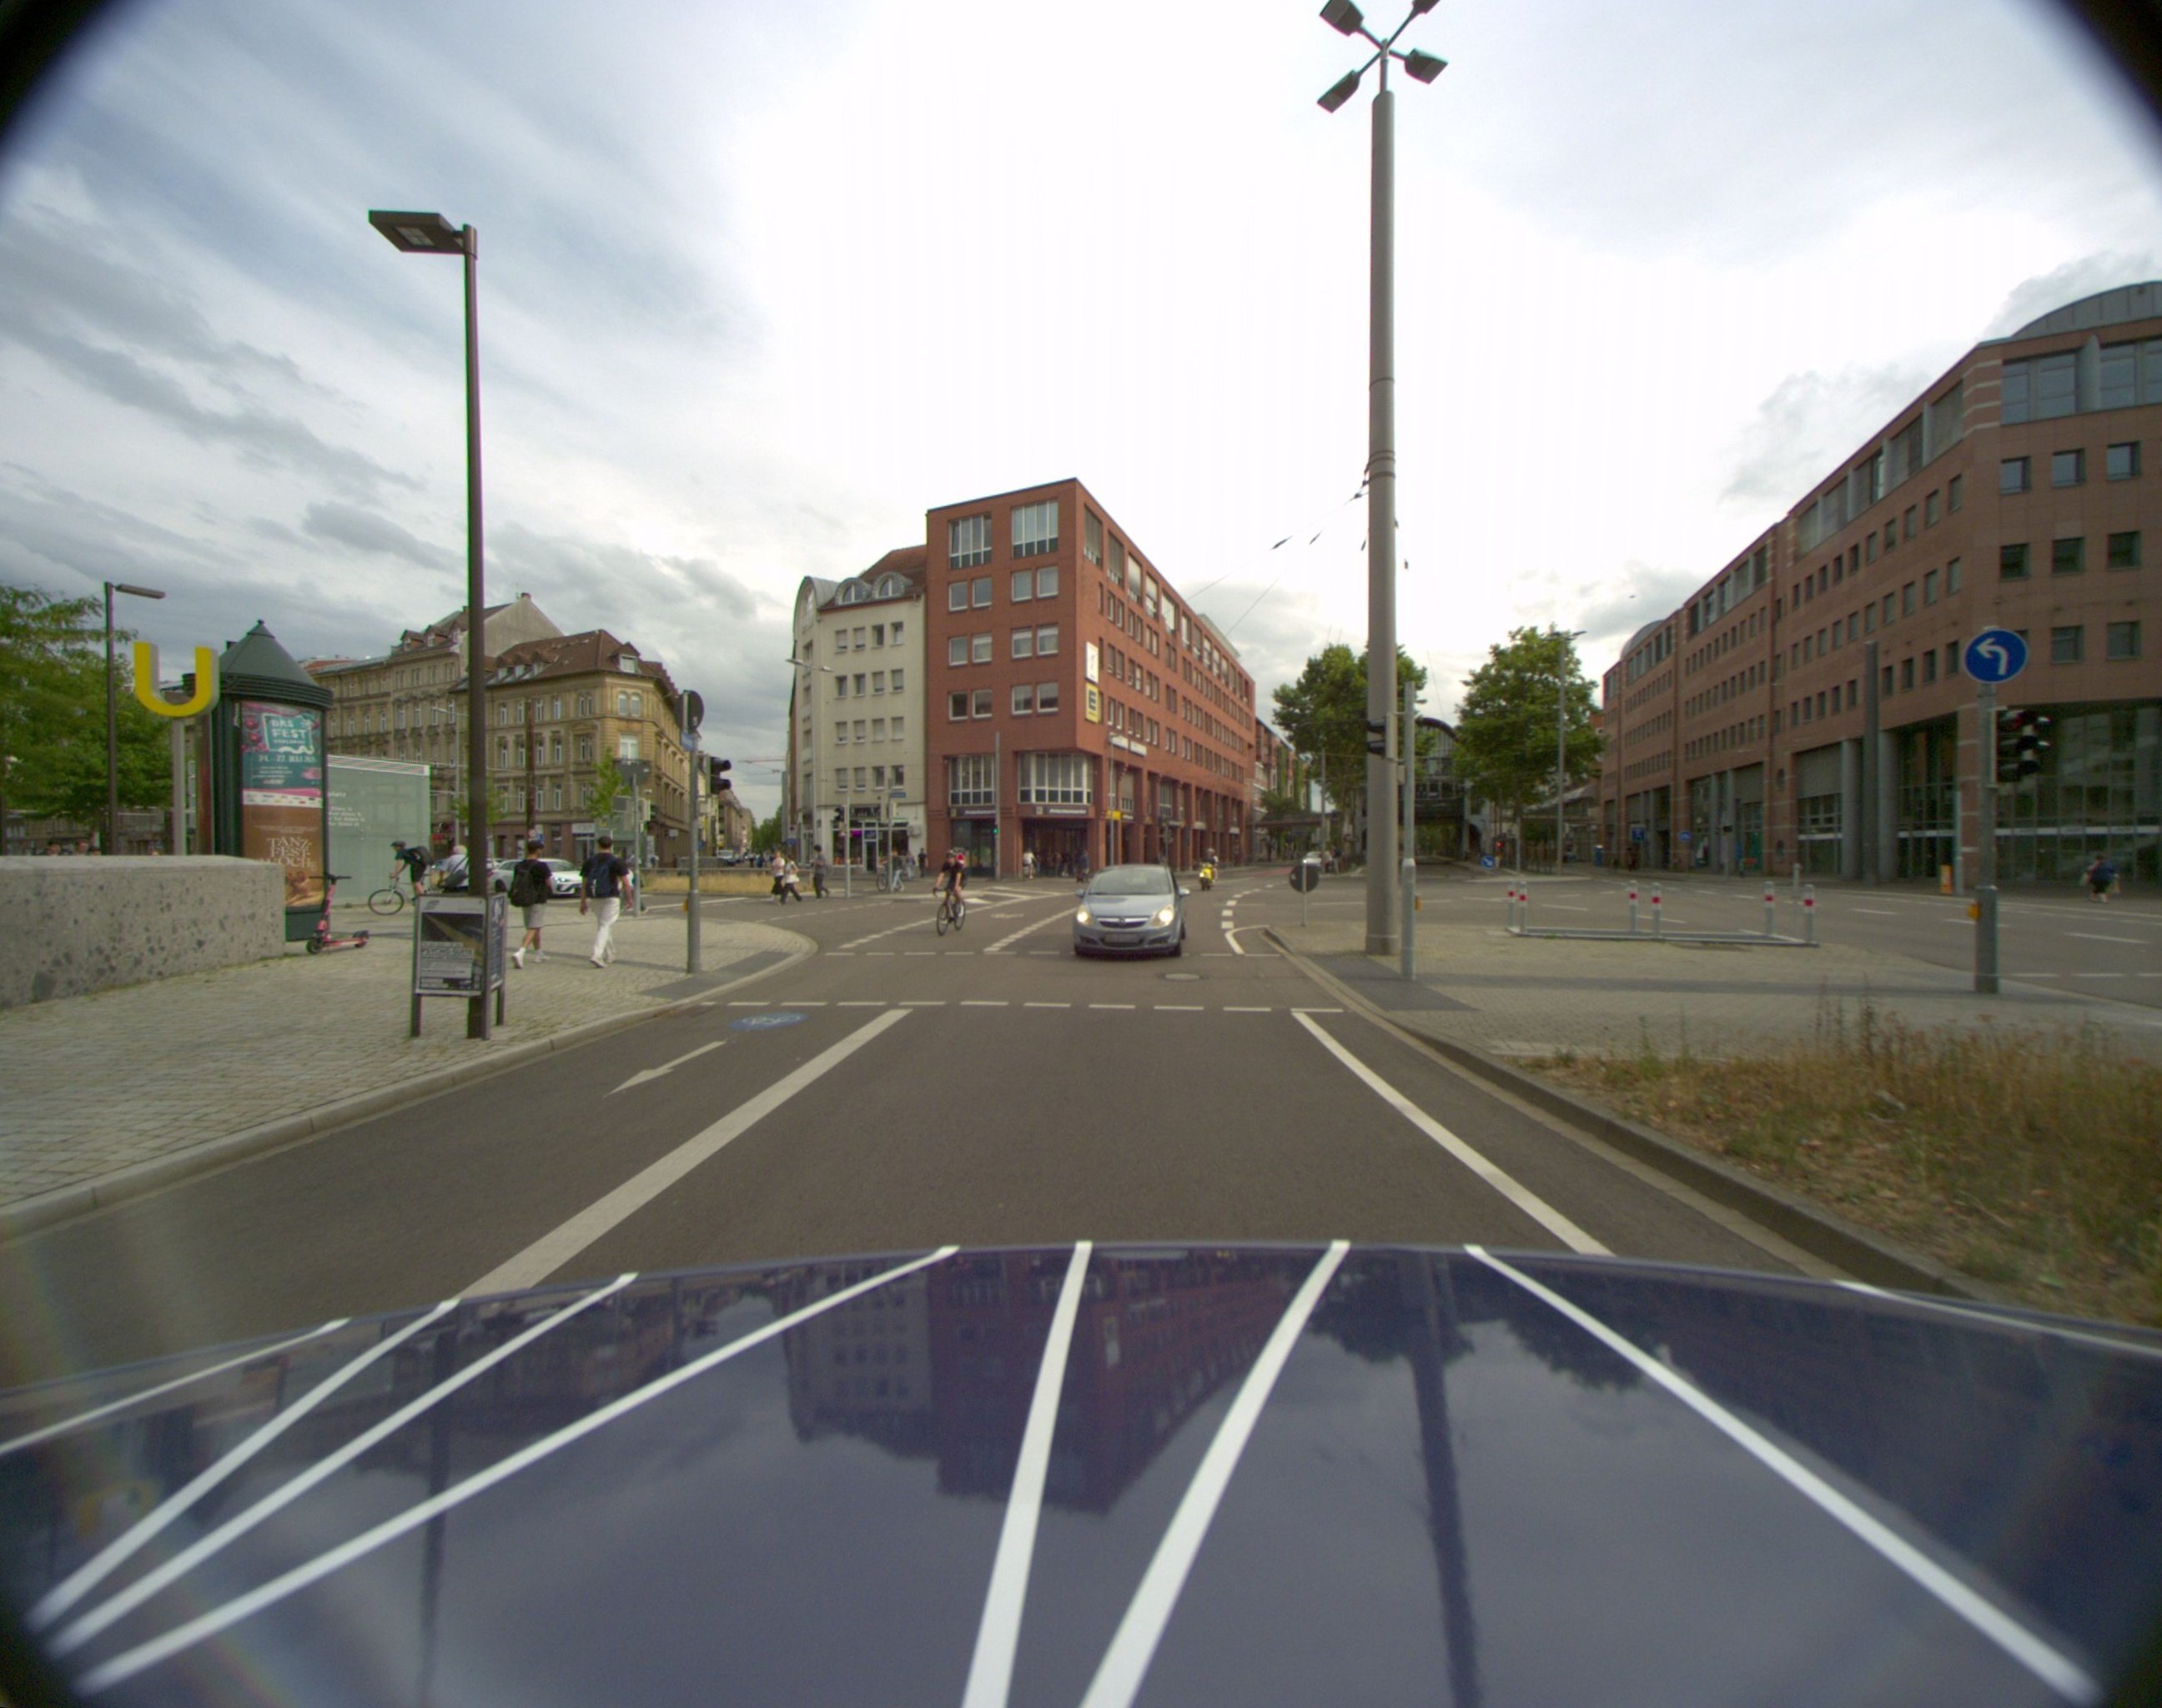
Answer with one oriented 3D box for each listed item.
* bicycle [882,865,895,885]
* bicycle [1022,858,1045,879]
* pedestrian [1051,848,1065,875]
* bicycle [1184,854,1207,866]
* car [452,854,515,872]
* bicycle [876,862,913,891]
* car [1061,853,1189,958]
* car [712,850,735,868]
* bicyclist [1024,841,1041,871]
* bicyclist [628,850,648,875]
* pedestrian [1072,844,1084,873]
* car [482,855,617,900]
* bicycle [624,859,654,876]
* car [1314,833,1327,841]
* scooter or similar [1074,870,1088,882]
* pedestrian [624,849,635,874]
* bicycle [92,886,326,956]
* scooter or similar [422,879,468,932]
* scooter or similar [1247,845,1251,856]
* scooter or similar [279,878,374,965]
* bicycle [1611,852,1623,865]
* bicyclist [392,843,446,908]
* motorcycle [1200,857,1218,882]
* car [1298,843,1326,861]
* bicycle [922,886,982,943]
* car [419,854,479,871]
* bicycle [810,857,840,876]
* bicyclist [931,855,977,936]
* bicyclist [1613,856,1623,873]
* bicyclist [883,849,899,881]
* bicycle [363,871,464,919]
[{"bbox_3d":[-9.395,1.014,37.057,0.543,0.945,1.804,0,0,-16],"label":"bicycle"},{"bbox_3d":[-2.691,0.812,43.350,0.390,1.116,2.079,3,3,24],"label":"bicycle"},{"bbox_3d":[-1.406,0.462,46.518,0.541,1.642,0.894,0,1,23],"label":"pedestrian"},{"bbox_3d":[10.009,0.522,66.349,1.856,1.034,0.508,0,1,24],"label":"bicycle"},{"bbox_3d":[-44.720,0.664,56.867,4.143,1.259,1.840,0,1,22],"label":"car"},{"bbox_3d":[-7.620,0.901,31.123,0.397,1.104,1.833,0,1,24],"label":"bicycle"},{"bbox_3d":[0.906,0.754,12.980,1.722,1.395,4.002,-2,1,9],"label":"car"},{"bbox_3d":[-32.119,0.410,68.363,1.698,1.577,3.652,0,1,-23],"label":"car"},{"bbox_3d":[-2.741,0.127,43.106,0.641,1.699,0.864,0,1,25],"label":"bicyclist"},{"bbox_3d":[-27.670,0.528,47.433,0.861,1.594,0.643,0,1,16],"label":"bicyclist"},{"bbox_3d":[-0.170,0.289,46.524,0.541,1.787,0.562,0,1,23],"label":"pedestrian"},{"bbox_3d":[-19.894,0.825,28.445,4.591,1.503,2.003,0,2,24],"label":"car"},{"bbox_3d":[-27.658,0.831,47.580,1.916,1.081,0.392,0,1,17],"label":"bicycle"},{"bbox_3d":[46.987,-3.305,148.973,1.954,1.592,4.006,0,1,24],"label":"car"},{"bbox_3d":[0.003,1.184,41.020,0.507,0.570,0.817,0,1,16],"label":"scooter or similar"},{"bbox_3d":[-31.074,0.503,52.291,0.423,1.675,0.516,0,1,24],"label":"pedestrian"},{"bbox_3d":[-13.438,1.027,11.793,2.451,1.008,0.544,1,1,-18],"label":"bicycle"},{"bbox_3d":[-13.894,1.108,16.600,0.700,1.104,0.610,2,1,36],"label":"scooter or similar"},{"bbox_3d":[19.287,-0.369,87.461,0.272,1.250,0.923,0,1,24],"label":"scooter or similar"},{"bbox_3d":[-11.443,0.998,11.559,0.286,1.205,1.125,0,1,0],"label":"scooter or similar"},{"bbox_3d":[45.849,0.380,65.015,0.546,1.111,1.592,0,0,24],"label":"bicycle"},{"bbox_3d":[-17.669,0.545,20.304,0.909,1.699,0.698,-1,1,-24],"label":"bicyclist"},{"bbox_3d":[5.278,0.637,31.339,0.569,0.962,2.016,0,1,14],"label":"motorcycle"},{"bbox_3d":[20.785,-0.221,68.255,1.954,1.592,4.006,0,1,24],"label":"car"},{"bbox_3d":[-2.620,1.201,15.601,0.488,0.995,1.749,0,1,16],"label":"bicycle"},{"bbox_3d":[-49.213,0.612,59.153,4.143,1.259,1.840,0,1,22],"label":"car"},{"bbox_3d":[-16.340,0.820,48.479,1.804,1.197,0.544,0,1,14],"label":"bicycle"},{"bbox_3d":[-2.598,0.830,15.594,0.612,1.594,0.848,0,1,17],"label":"bicyclist"},{"bbox_3d":[45.743,0.905,64.759,0.551,1.373,0.739,0,1,23],"label":"bicyclist"},{"bbox_3d":[-9.284,0.521,37.114,0.746,1.550,0.945,0,1,-15],"label":"bicyclist"},{"bbox_3d":[-17.725,1.075,20.218,1.922,1.116,0.390,-3,4,-24],"label":"bicycle"}]
